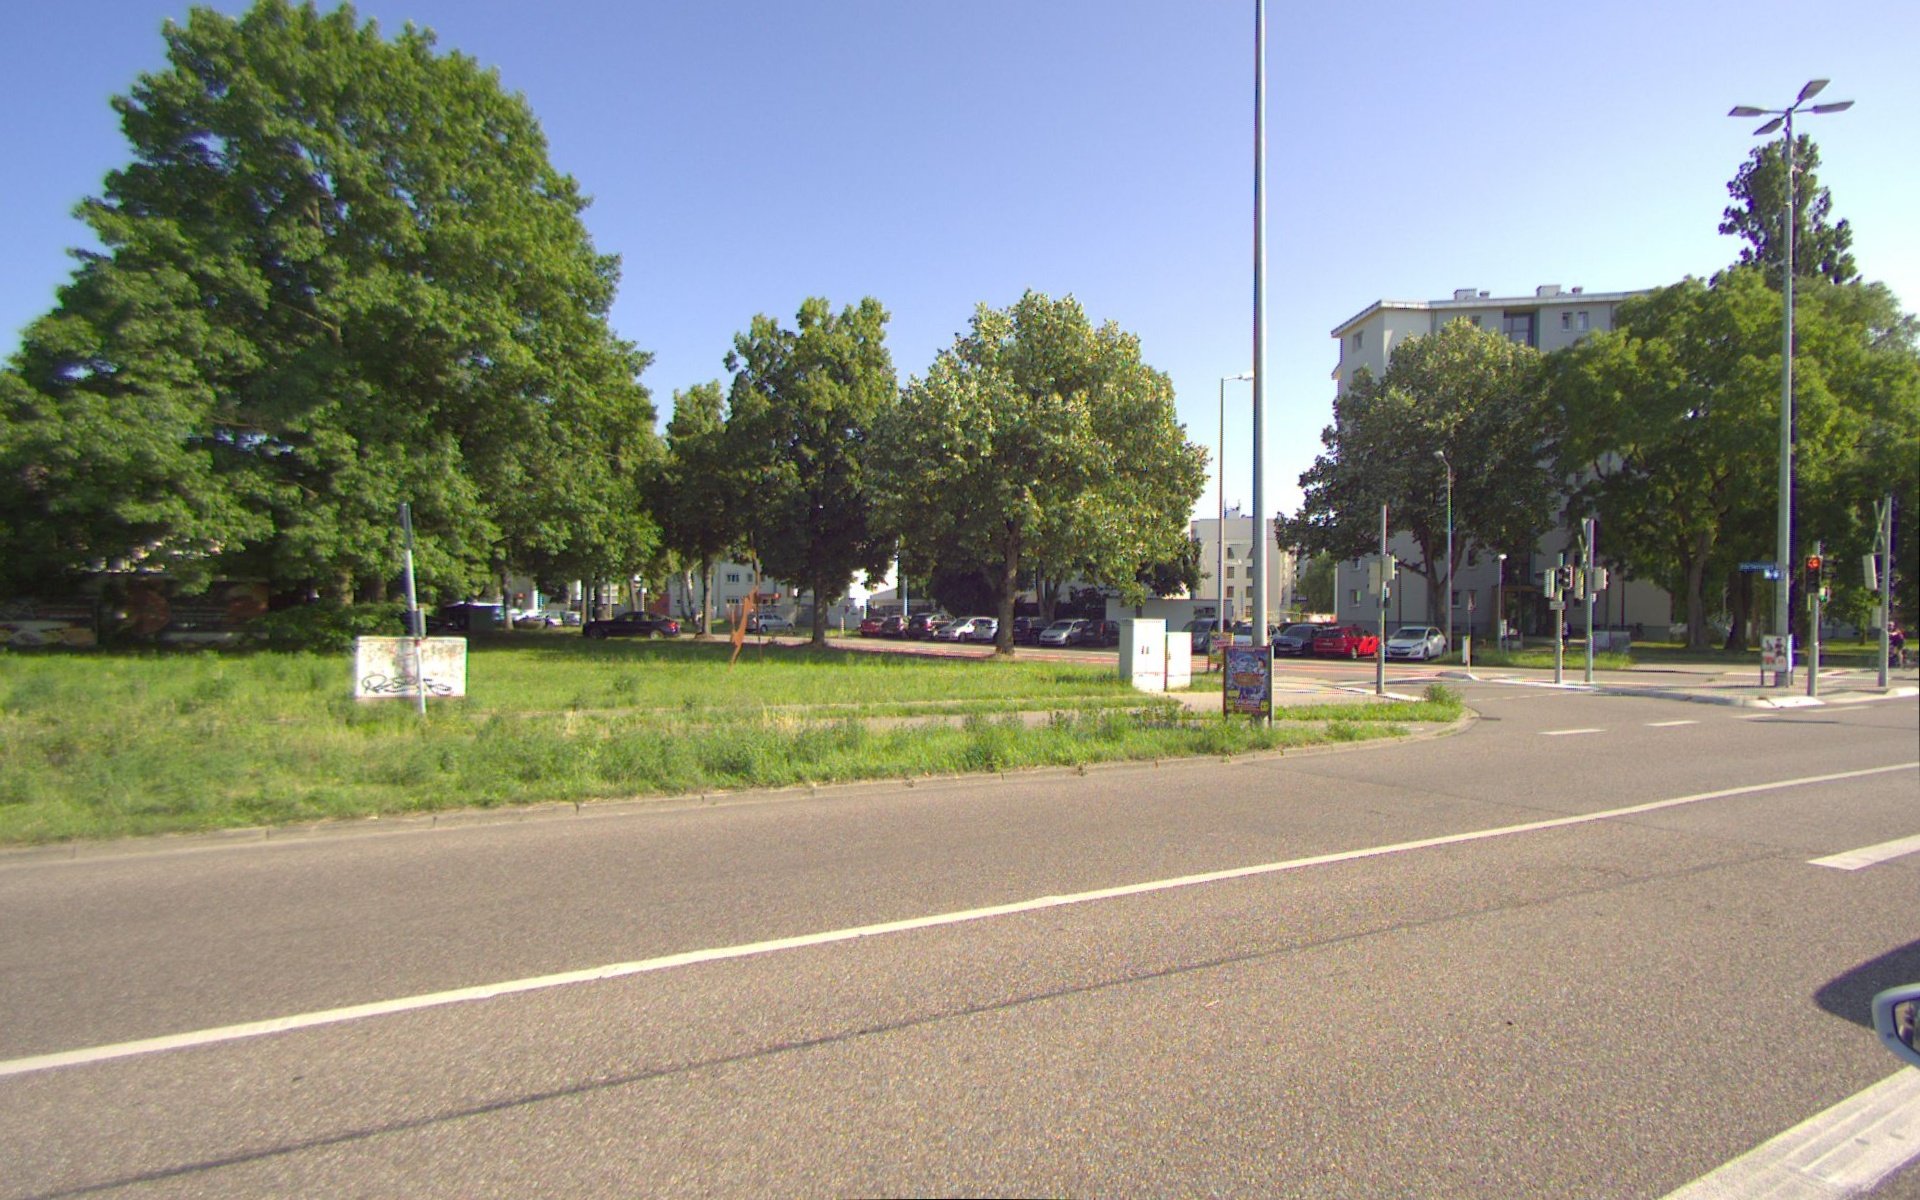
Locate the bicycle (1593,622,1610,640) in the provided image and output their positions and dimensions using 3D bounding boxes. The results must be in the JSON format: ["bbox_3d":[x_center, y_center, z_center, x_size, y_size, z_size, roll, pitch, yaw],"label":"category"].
[{"bbox_3d":[40.776,1.963,63.906,0.601,1.080,1.916,1,-2,24],"label":"bicycle"}]

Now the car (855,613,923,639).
[{"bbox_3d":[-4.793,1.751,68.353,1.758,1.497,4.791,0,2,39],"label":"car"}]

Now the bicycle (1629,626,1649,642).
[{"bbox_3d":[42.689,2.132,63.168,0.658,0.932,2.404,1,-1,26],"label":"bicycle"}]

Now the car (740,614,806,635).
[{"bbox_3d":[-14.184,1.864,76.326,1.760,1.497,4.786,0,-1,43],"label":"car"}]

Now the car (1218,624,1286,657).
[{"bbox_3d":[14.713,2.021,50.569,1.759,1.541,3.979,0,-1,41],"label":"car"}]

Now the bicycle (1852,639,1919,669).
[{"bbox_3d":[34.327,1.992,37.128,2.030,1.054,0.622,1,0,5],"label":"bicycle"}]

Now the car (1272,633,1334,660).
[{"bbox_3d":[16.648,2.205,48.682,1.445,1.209,3.765,0,-1,43],"label":"car"}]

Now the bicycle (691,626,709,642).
[{"bbox_3d":[-15.751,2.036,60.916,0.646,0.915,1.796,1,0,-29],"label":"bicycle"}]

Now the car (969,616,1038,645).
[{"bbox_3d":[2.721,1.821,61.466,1.758,1.497,4.755,0,2,39],"label":"car"}]

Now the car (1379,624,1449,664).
[{"bbox_3d":[20.549,1.953,45.407,1.760,1.459,3.977,0,2,43],"label":"car"}]

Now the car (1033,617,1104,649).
[{"bbox_3d":[6.280,1.839,57.814,1.758,1.497,4.692,0,3,39],"label":"car"}]

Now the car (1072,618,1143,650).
[{"bbox_3d":[8.437,1.894,57.160,1.758,1.497,4.791,0,2,39],"label":"car"}]

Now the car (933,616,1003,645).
[{"bbox_3d":[0.523,1.866,62.708,1.758,1.497,4.791,0,2,39],"label":"car"}]

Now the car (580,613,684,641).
[{"bbox_3d":[-16.243,1.332,49.946,4.682,1.338,1.524,1,-1,-8],"label":"car"}]

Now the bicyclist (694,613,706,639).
[{"bbox_3d":[-15.739,1.546,60.827,0.610,1.544,0.623,0,1,-29],"label":"bicyclist"}]

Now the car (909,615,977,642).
[{"bbox_3d":[-1.049,1.816,64.633,1.758,1.497,4.791,0,2,39],"label":"car"}]

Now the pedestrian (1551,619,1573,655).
[{"bbox_3d":[29.577,1.789,49.333,0.693,1.736,0.623,-1,0,-18],"label":"pedestrian"}]

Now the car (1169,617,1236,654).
[{"bbox_3d":[12.691,1.849,52.407,1.759,1.835,3.979,0,-1,41],"label":"car"}]

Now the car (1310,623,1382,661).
[{"bbox_3d":[18.242,1.926,47.388,1.761,1.435,3.975,0,3,44],"label":"car"}]

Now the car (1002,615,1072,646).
[{"bbox_3d":[4.621,1.799,59.890,1.758,1.497,4.791,0,3,39],"label":"car"}]

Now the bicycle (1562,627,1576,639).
[{"bbox_3d":[39.377,2.102,64.941,0.574,0.718,2.236,1,0,26],"label":"bicycle"}]

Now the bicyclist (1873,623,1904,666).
[{"bbox_3d":[34.324,1.639,37.139,0.590,1.581,0.609,1,0,5],"label":"bicyclist"}]

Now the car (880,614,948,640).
[{"bbox_3d":[-3.029,1.758,66.885,1.758,1.497,4.791,0,2,39],"label":"car"}]
